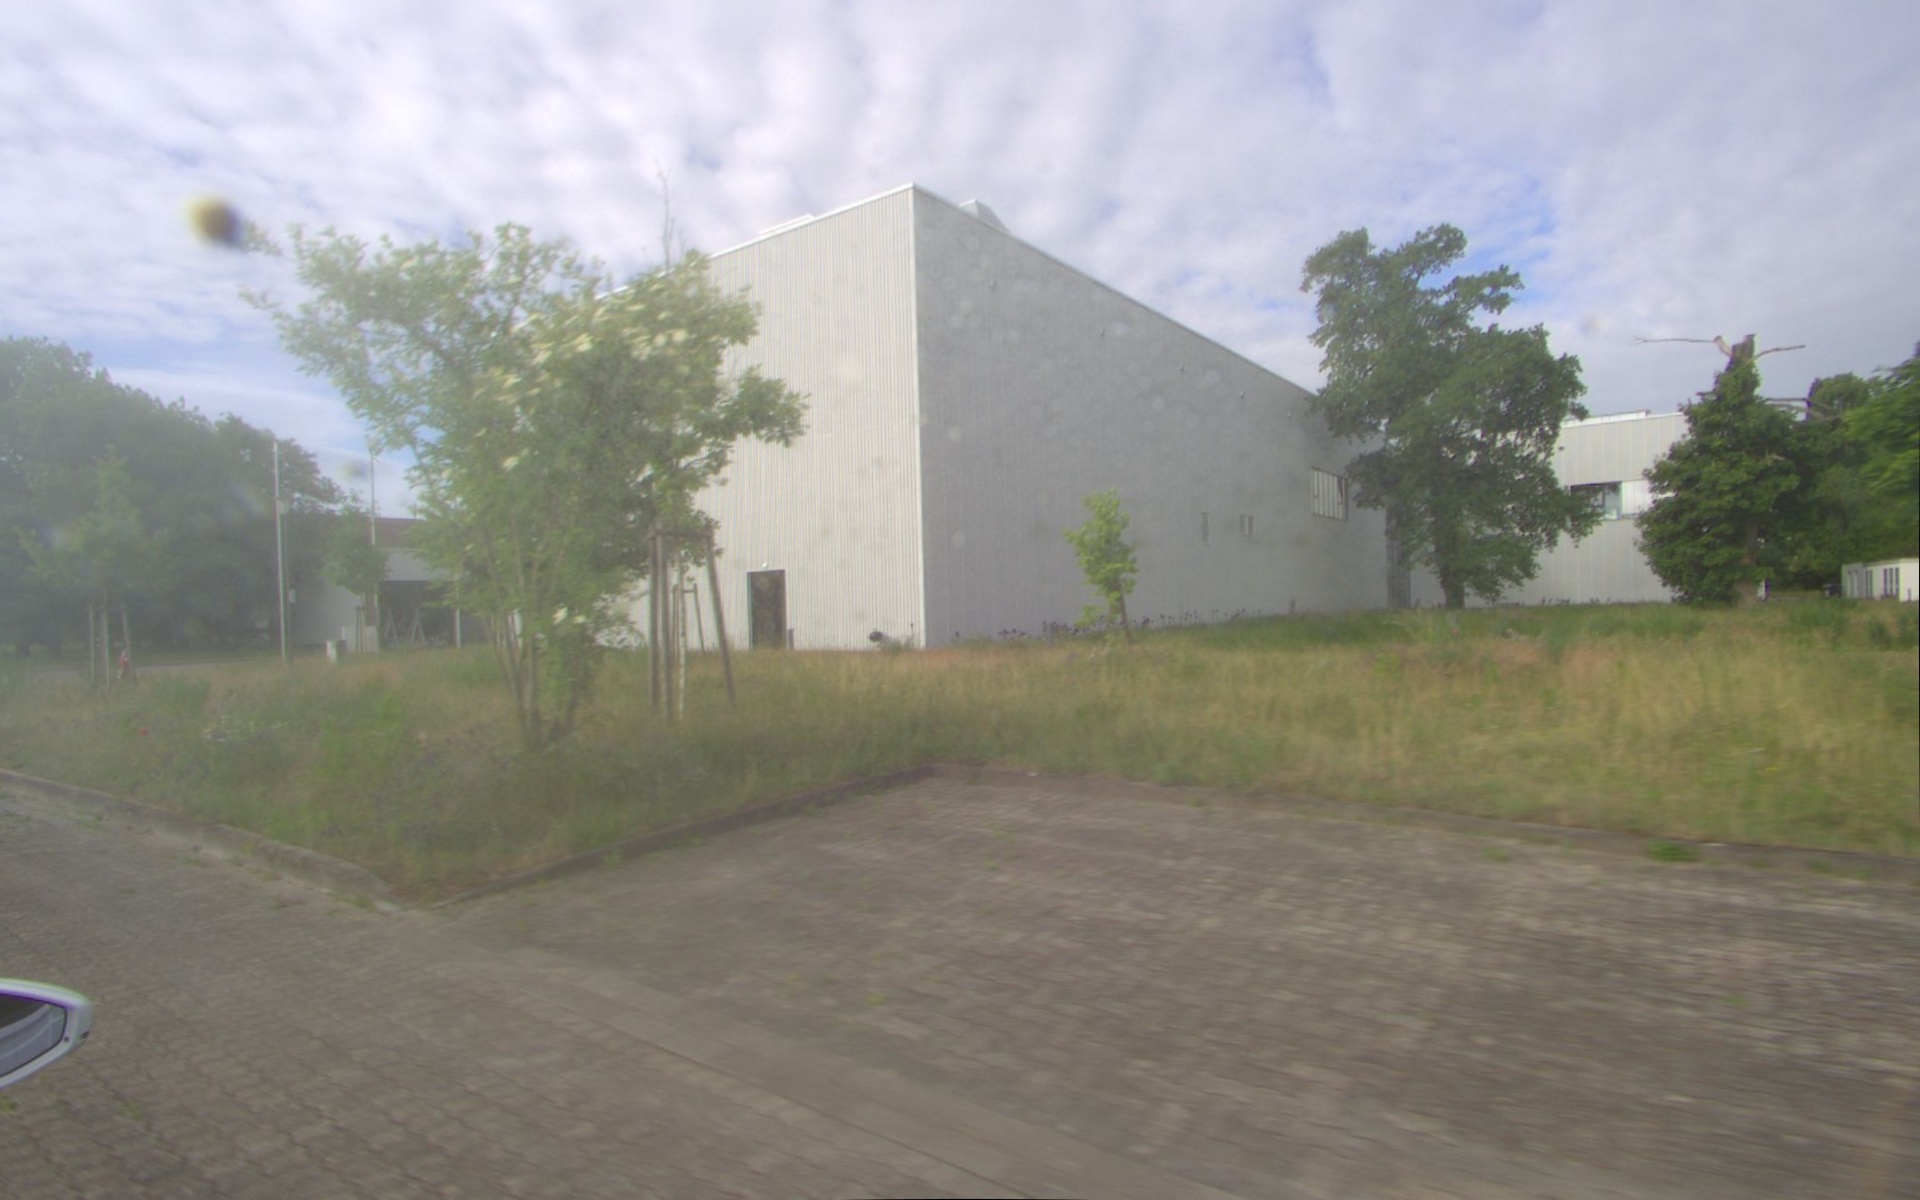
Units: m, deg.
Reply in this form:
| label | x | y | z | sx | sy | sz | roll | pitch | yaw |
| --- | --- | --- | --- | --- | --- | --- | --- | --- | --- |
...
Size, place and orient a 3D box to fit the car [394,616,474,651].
| label | x | y | z | sx | sy | sz | roll | pitch | yaw |
| --- | --- | --- | --- | --- | --- | --- | --- | --- | --- |
| car | -32.444 | 2.075 | 61.704 | 5.268 | 2.040 | 2.234 | -2 | -1 | 36 |
